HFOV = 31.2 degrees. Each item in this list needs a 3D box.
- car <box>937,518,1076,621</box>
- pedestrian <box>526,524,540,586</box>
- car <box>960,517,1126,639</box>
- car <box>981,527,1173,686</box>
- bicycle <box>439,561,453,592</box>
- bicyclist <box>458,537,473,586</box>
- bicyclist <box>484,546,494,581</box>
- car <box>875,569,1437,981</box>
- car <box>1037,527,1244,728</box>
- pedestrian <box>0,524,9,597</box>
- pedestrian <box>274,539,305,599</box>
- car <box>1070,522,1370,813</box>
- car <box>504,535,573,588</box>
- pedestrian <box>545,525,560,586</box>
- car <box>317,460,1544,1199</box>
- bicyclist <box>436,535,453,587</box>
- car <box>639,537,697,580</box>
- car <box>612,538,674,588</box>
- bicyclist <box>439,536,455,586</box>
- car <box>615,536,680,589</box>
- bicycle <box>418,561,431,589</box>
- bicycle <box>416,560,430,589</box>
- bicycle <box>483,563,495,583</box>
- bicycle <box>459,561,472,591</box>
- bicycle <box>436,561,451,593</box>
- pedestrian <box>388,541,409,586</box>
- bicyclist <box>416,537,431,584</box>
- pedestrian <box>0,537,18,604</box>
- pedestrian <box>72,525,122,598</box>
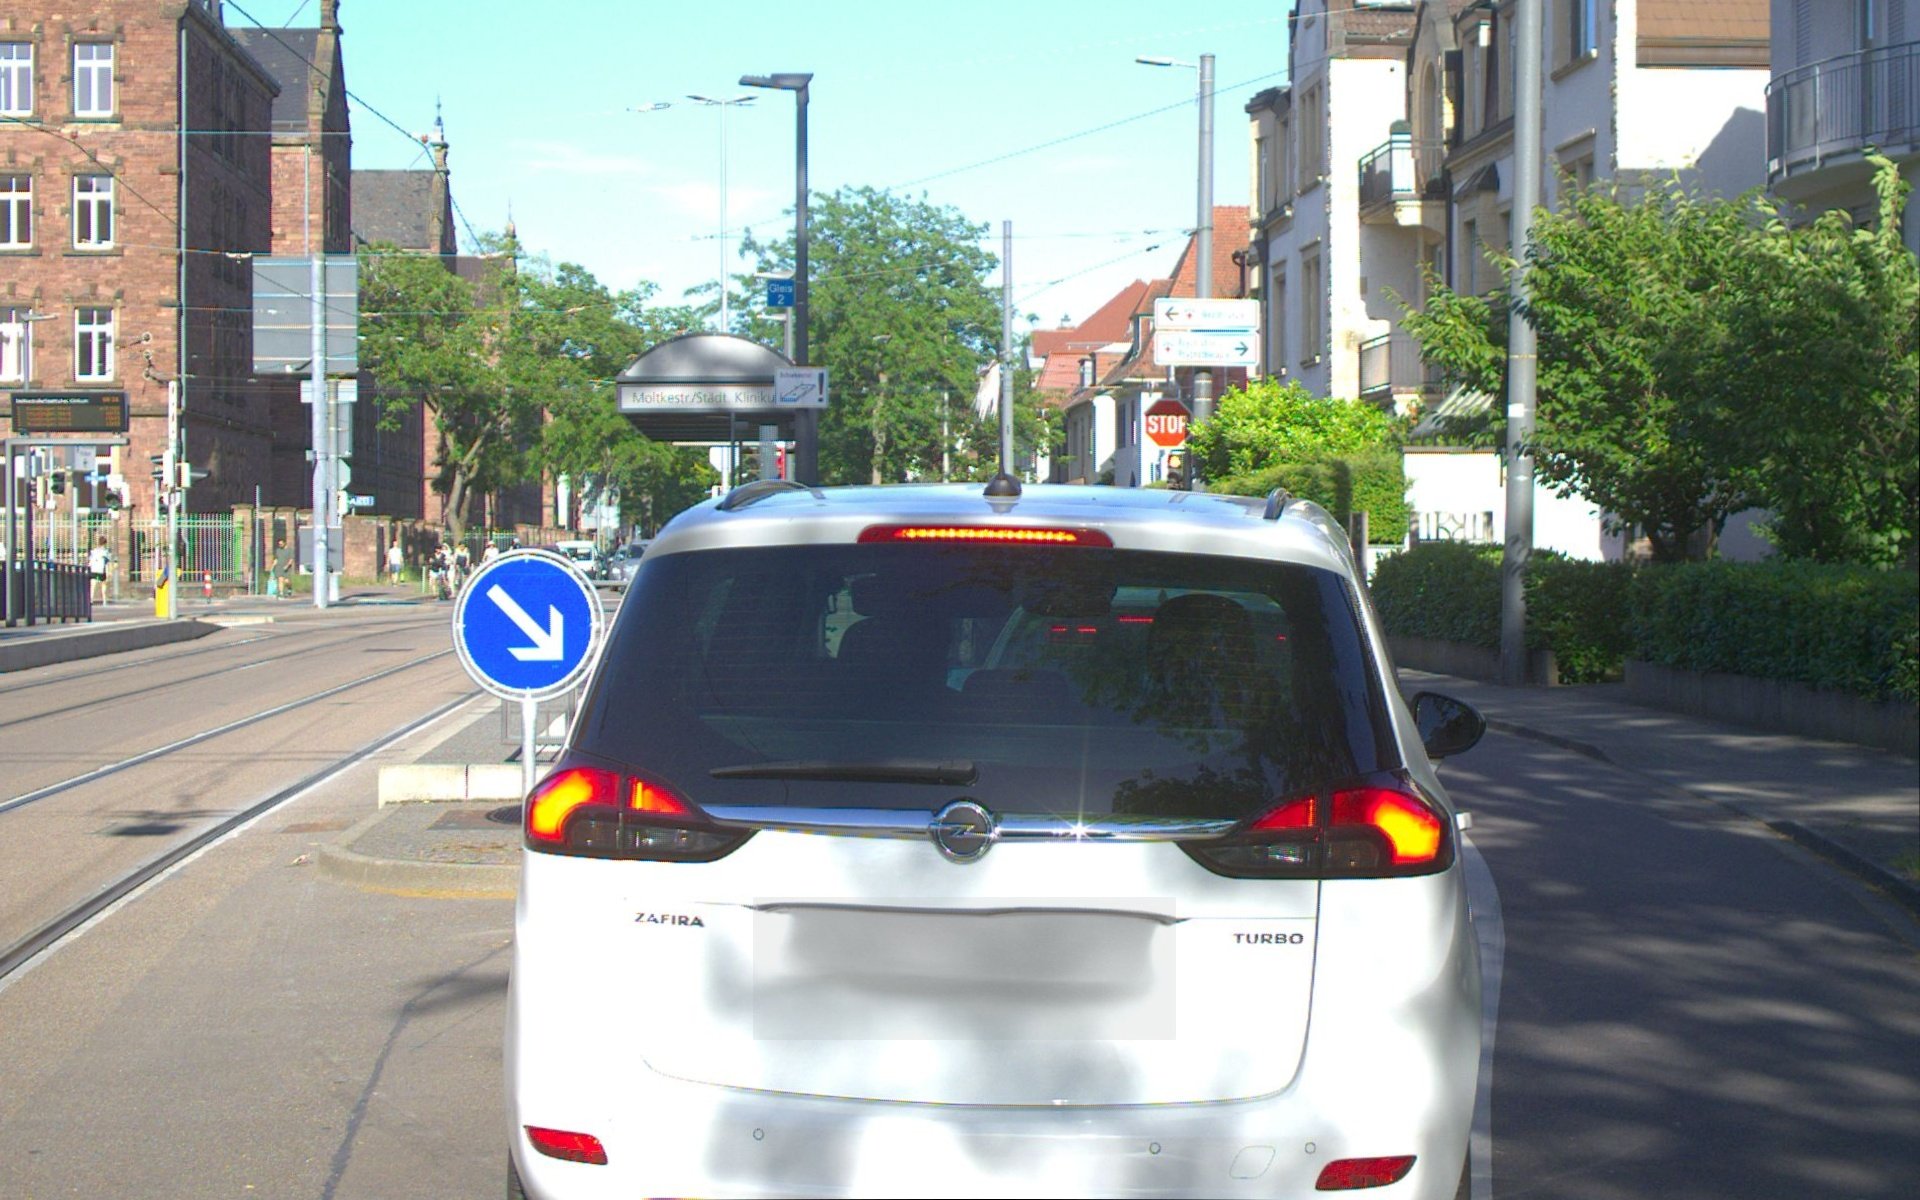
[{"bbox_3d":[0.665,-0.479,51.752,1.993,1.497,4.000,0,1,-1],"label":"car"},{"bbox_3d":[-13.908,-1.456,111.945,0.444,2.007,0.496,0,1,-4],"label":"pedestrian"},{"bbox_3d":[1.018,-0.311,44.292,1.993,1.497,4.000,0,1,-1],"label":"car"},{"bbox_3d":[1.174,0.031,36.172,1.830,1.574,4.010,0,1,-1],"label":"car"},{"bbox_3d":[-15.930,-0.736,106.608,0.344,0.946,0.997,1,0,-4],"label":"bicycle"},{"bbox_3d":[-15.690,-1.223,109.143,0.444,1.548,0.496,0,1,-4],"label":"bicyclist"},{"bbox_3d":[-17.452,-1.369,127.378,0.359,1.299,0.398,0,1,-4],"label":"bicyclist"},{"bbox_3d":[0.743,0.591,13.975,1.953,1.392,4.000,0,1,2],"label":"car"},{"bbox_3d":[1.492,0.184,29.248,1.637,1.595,3.854,0,1,2],"label":"car"},{"bbox_3d":[-22.648,-0.917,79.802,0.843,1.686,1.029,1,0,-1],"label":"pedestrian"},{"bbox_3d":[-19.323,-0.901,99.080,0.734,1.708,0.706,1,0,-1],"label":"pedestrian"},{"bbox_3d":[1.491,0.334,20.820,1.637,1.595,3.854,0,1,2],"label":"car"},{"bbox_3d":[-13.118,-1.205,107.080,1.993,1.623,4.001,0,1,-5],"label":"car"},{"bbox_3d":[-13.304,-1.451,112.243,0.444,2.007,0.496,0,1,-4],"label":"pedestrian"},{"bbox_3d":[0.135,0.584,7.595,1.994,1.639,3.992,1,1,6],"label":"car"},{"bbox_3d":[-15.476,-1.164,103.276,0.444,1.548,0.743,0,1,-4],"label":"bicyclist"},{"bbox_3d":[-11.082,-1.591,130.646,1.993,1.623,4.001,0,1,-2],"label":"car"},{"bbox_3d":[-10.535,-1.250,114.409,1.993,1.623,4.001,0,1,-5],"label":"car"},{"bbox_3d":[-15.894,-1.201,106.558,0.444,1.548,0.496,0,1,-4],"label":"bicyclist"},{"bbox_3d":[-9.738,-1.169,107.303,1.993,1.623,4.001,0,1,-5],"label":"car"},{"bbox_3d":[-17.649,-0.826,113.303,0.344,0.946,0.997,1,0,-4],"label":"bicycle"},{"bbox_3d":[-17.988,-0.849,115.133,0.344,0.946,0.997,1,0,-4],"label":"bicycle"},{"bbox_3d":[-17.452,-1.000,127.364,0.344,0.722,0.997,1,0,-4],"label":"bicycle"},{"bbox_3d":[-15.699,-0.758,109.157,0.344,0.946,0.997,1,0,-4],"label":"bicycle"},{"bbox_3d":[-15.484,-0.695,103.075,0.344,0.946,1.160,1,0,-4],"label":"bicycle"},{"bbox_3d":[-21.348,-1.379,130.778,0.734,1.708,0.754,1,0,-6],"label":"pedestrian"},{"bbox_3d":[-17.666,-1.292,113.254,0.444,1.548,0.496,0,1,-4],"label":"bicyclist"},{"bbox_3d":[-22.943,-0.718,81.851,0.802,1.583,0.935,1,0,-3],"label":"pedestrian"},{"bbox_3d":[-20.255,-0.900,80.689,0.895,1.678,1.029,1,0,-1],"label":"pedestrian"}]
